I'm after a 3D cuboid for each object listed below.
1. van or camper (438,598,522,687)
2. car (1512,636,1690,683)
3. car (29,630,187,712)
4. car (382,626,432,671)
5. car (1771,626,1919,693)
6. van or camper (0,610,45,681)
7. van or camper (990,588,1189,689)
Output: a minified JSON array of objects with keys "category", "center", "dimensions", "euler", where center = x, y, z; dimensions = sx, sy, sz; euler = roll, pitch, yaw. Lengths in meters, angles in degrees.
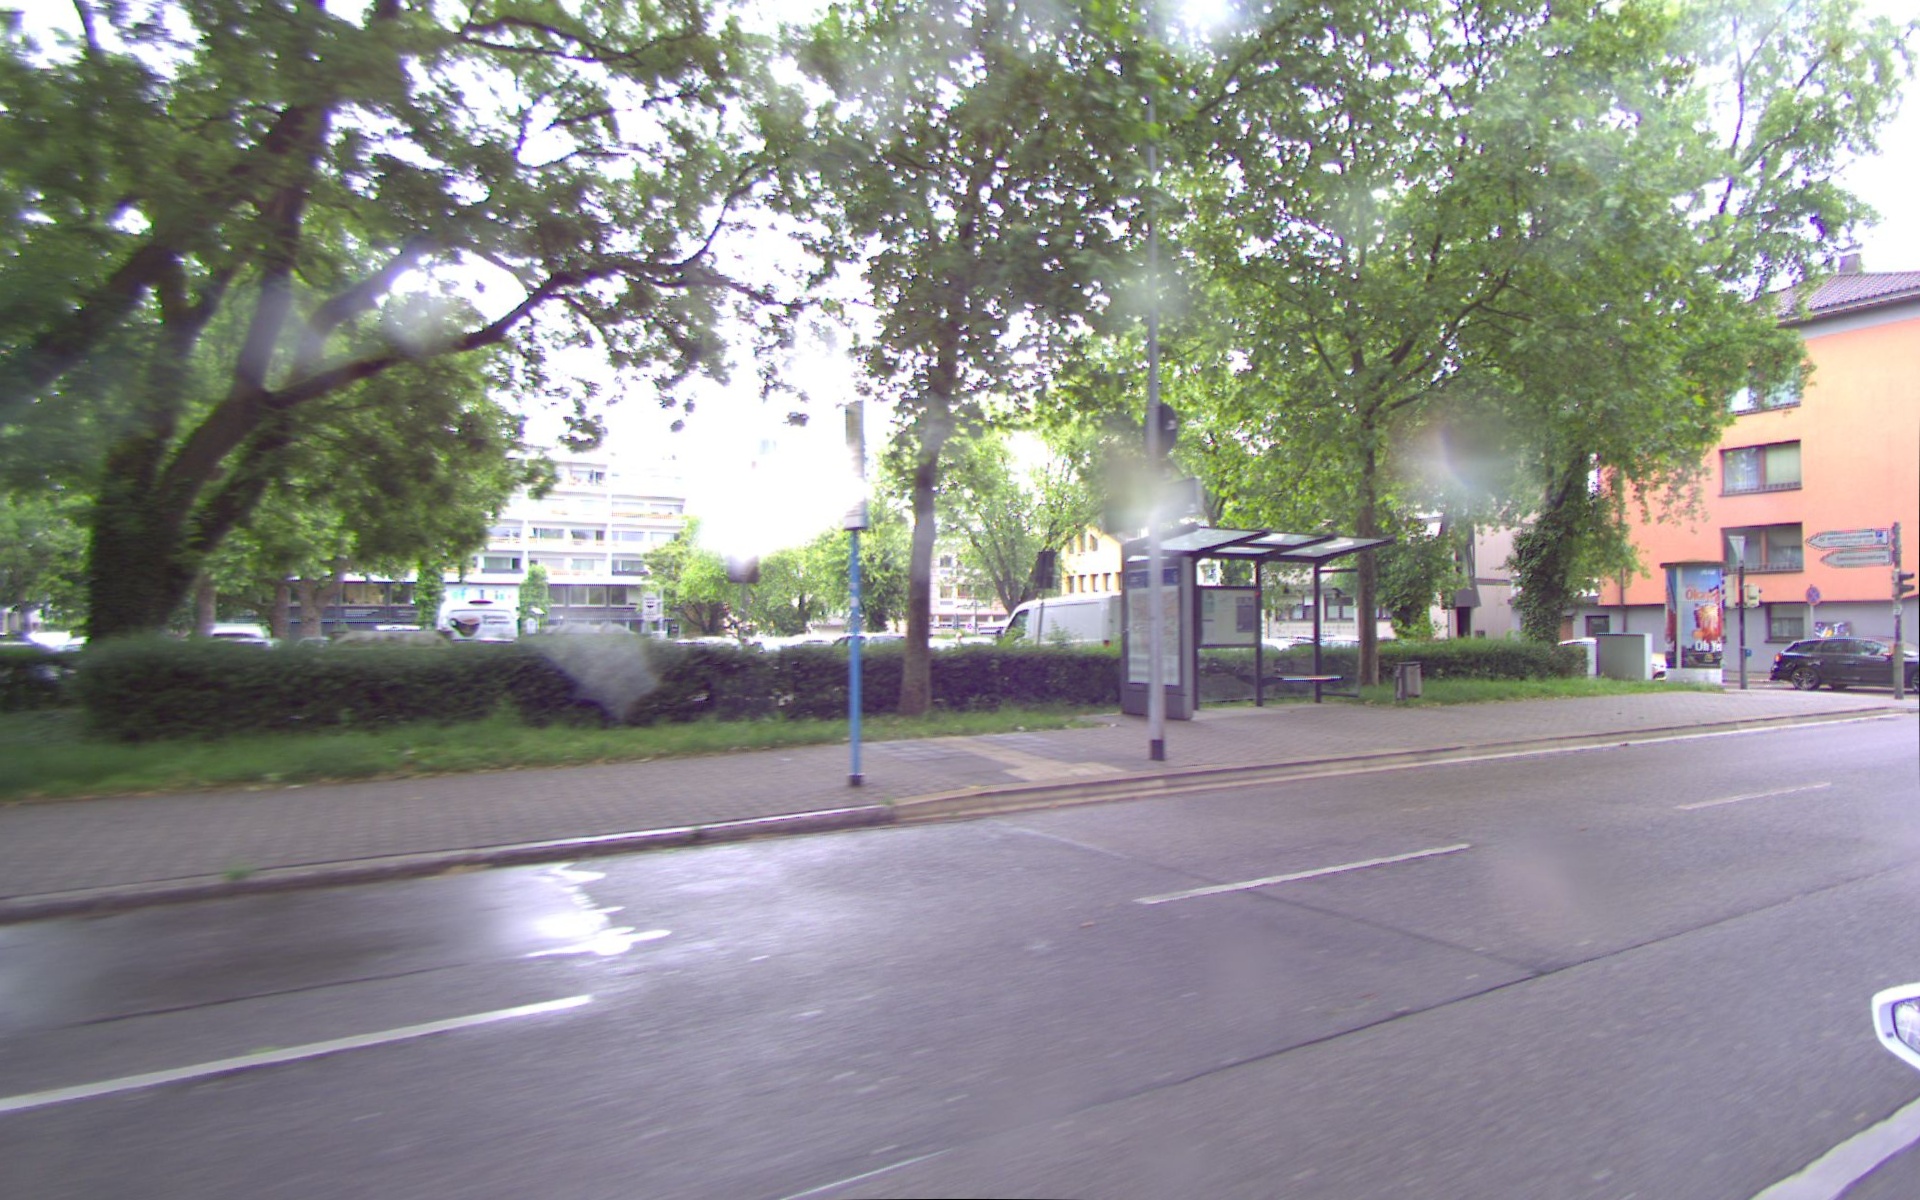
[{"category":"van or camper","center":[-14.468,1.255,30.141],"dimensions":[2.073,2.463,4.310],"euler":[1,-2,-28]},{"category":"car","center":[20.897,1.918,32.982],"dimensions":[1.809,1.422,4.617],"euler":[1,-3,-28]},{"category":"car","center":[-18.840,1.492,22.423],"dimensions":[1.840,1.647,4.023],"euler":[1,-2,-28]},{"category":"car","center":[-23.543,2.042,42.715],"dimensions":[1.782,1.848,3.969],"euler":[1,-2,-30]},{"category":"car","center":[24.141,1.529,26.328],"dimensions":[1.826,1.646,4.115],"euler":[0,-3,-24]},{"category":"van or camper","center":[-34.282,1.546,34.303],"dimensions":[2.532,2.433,8.588],"euler":[1,-2,-29]},{"category":"van or camper","center":[2.716,0.833,22.182],"dimensions":[1.977,1.975,4.572],"euler":[1,-2,-31]}]
